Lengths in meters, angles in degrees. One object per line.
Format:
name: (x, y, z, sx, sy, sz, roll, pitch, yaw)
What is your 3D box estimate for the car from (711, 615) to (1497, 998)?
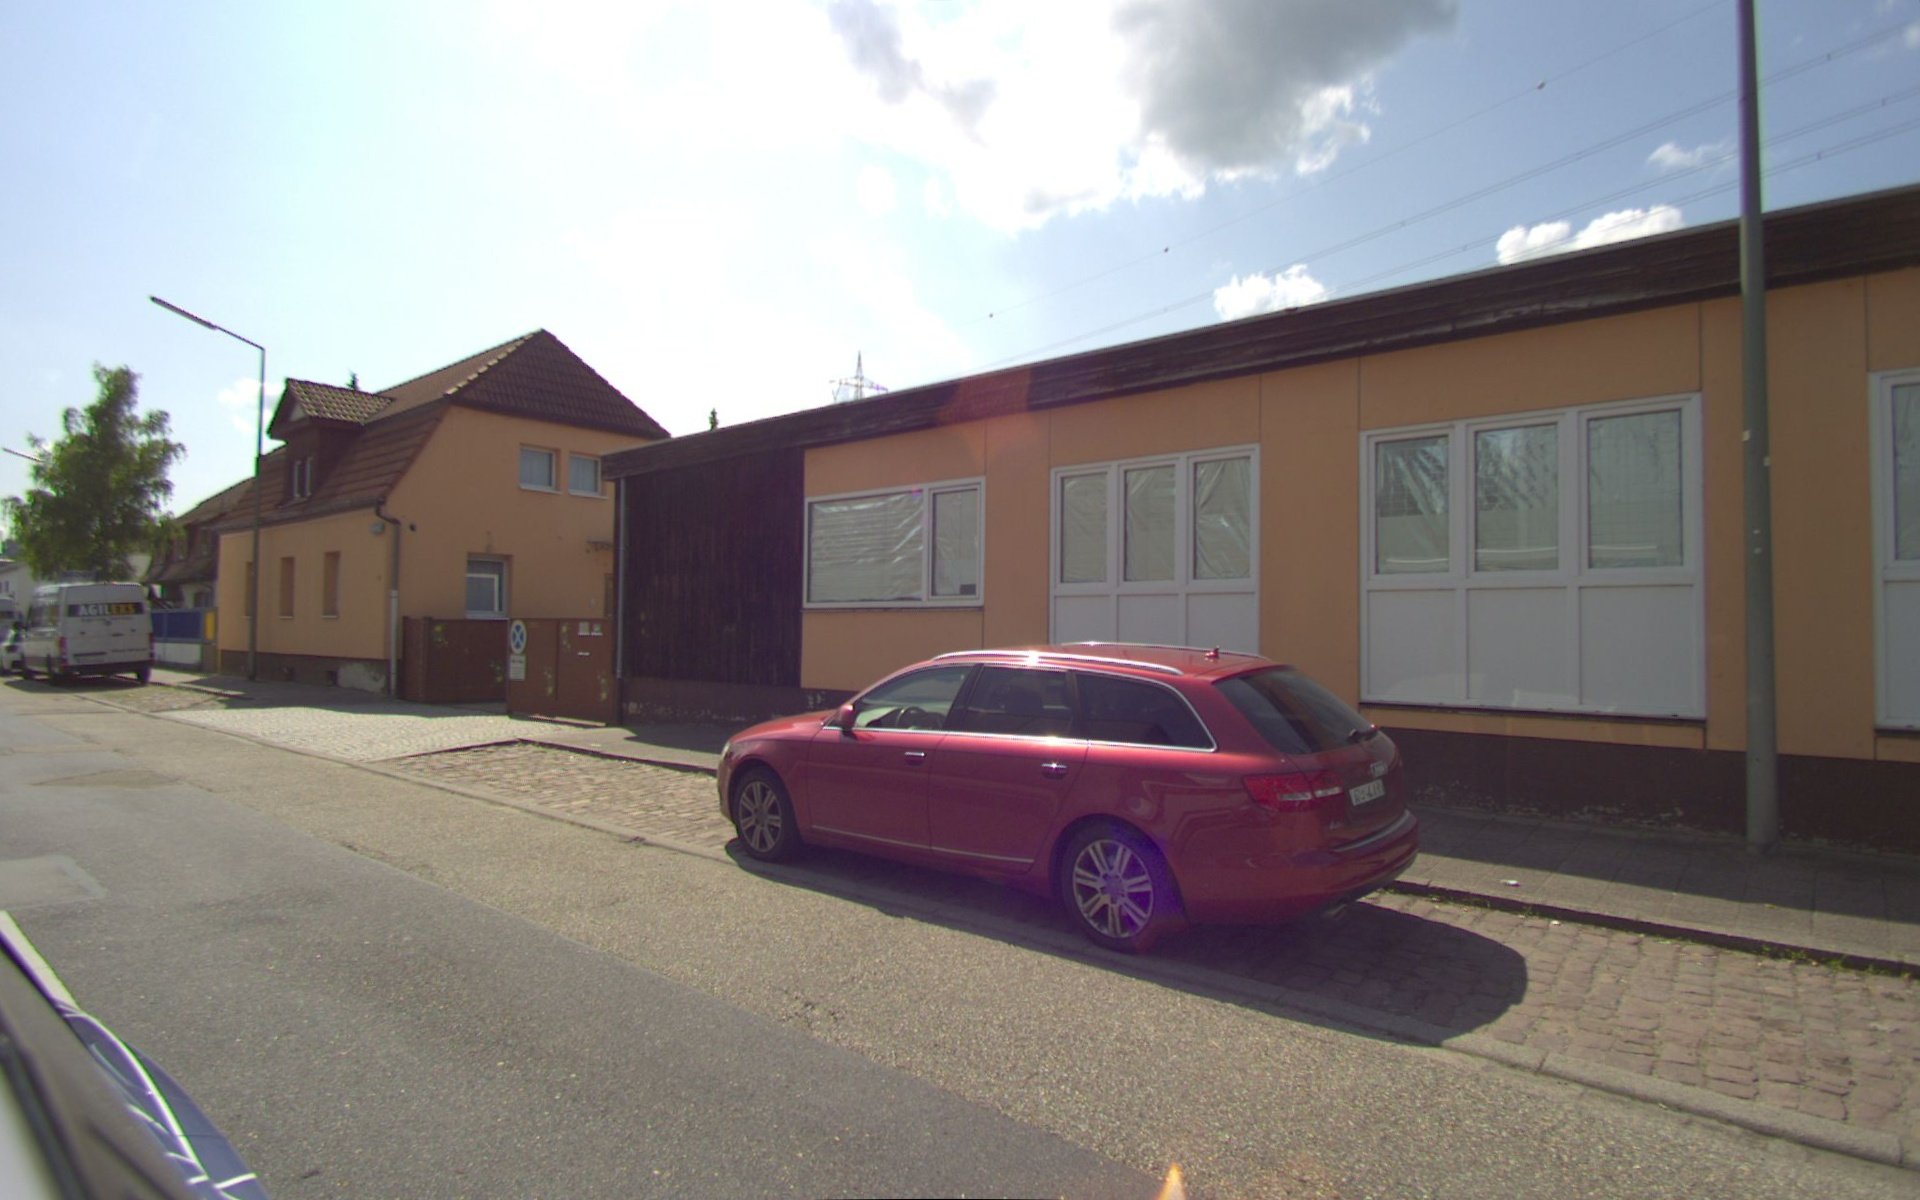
car: (0.522, 0.850, 6.203, 4.629, 1.478, 1.692, -1, 0, 42)

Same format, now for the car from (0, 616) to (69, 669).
car: (-29.188, 1.283, 31.578, 3.714, 1.502, 1.636, -1, 0, 41)

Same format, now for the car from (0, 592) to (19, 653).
car: (-43.415, 1.002, 44.805, 5.821, 2.590, 1.973, -1, 0, 41)

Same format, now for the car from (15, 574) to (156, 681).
car: (-23.347, 0.680, 26.933, 5.821, 2.561, 2.052, -1, 0, 41)
